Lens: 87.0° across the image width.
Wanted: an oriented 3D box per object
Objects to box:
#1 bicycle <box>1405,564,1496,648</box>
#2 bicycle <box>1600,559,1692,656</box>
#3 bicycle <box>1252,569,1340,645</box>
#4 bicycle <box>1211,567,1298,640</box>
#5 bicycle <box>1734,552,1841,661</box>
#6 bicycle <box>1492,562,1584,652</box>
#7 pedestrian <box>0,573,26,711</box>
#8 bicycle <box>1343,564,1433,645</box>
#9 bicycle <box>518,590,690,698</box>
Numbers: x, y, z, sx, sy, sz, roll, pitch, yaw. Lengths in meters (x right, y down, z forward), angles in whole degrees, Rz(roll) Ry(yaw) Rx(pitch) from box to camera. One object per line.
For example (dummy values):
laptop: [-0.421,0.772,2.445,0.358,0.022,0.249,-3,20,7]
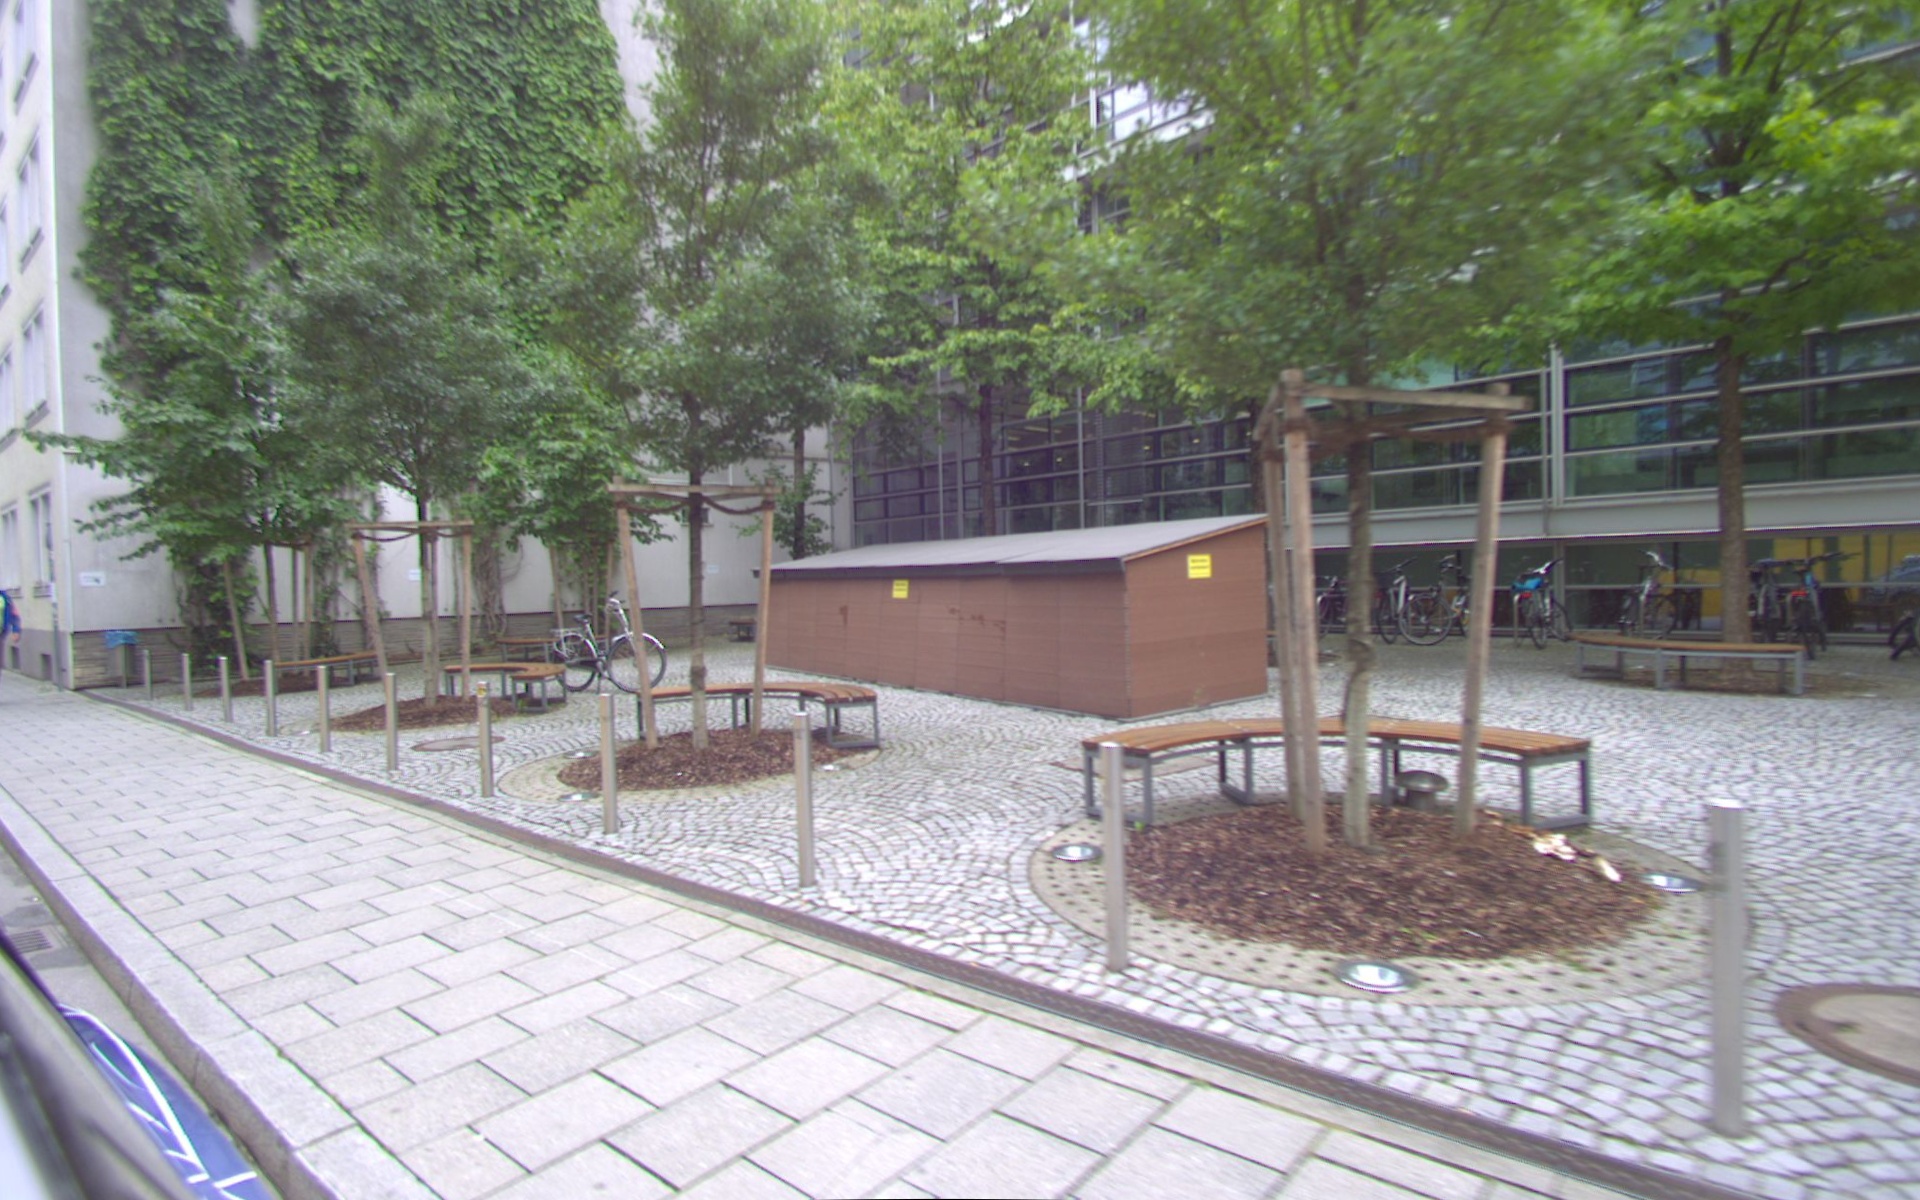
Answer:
bicycle: [6.708,0.061,13.813,0.629,1.068,1.554,-1,1,44]
bicycle: [8.165,0.064,12.023,0.629,1.068,1.554,-1,1,44]
bicycle: [5.120,0.085,15.379,0.629,1.068,1.554,-1,1,44]
bicycle: [4.648,0.042,15.902,0.629,1.068,1.554,-1,1,44]
bicycle: [9.049,0.036,11.038,1.875,1.066,0.705,-4,2,-45]
bicycle: [7.408,0.072,12.952,0.629,1.068,1.554,-1,1,44]
pedestrian: [-13.489,0.588,13.888,0.974,1.858,0.849,-1,2,43]
bicycle: [6.118,0.048,14.427,0.629,1.068,1.554,-1,1,44]
bicycle: [-4.329,0.524,12.303,1.986,1.217,0.708,-1,2,24]
